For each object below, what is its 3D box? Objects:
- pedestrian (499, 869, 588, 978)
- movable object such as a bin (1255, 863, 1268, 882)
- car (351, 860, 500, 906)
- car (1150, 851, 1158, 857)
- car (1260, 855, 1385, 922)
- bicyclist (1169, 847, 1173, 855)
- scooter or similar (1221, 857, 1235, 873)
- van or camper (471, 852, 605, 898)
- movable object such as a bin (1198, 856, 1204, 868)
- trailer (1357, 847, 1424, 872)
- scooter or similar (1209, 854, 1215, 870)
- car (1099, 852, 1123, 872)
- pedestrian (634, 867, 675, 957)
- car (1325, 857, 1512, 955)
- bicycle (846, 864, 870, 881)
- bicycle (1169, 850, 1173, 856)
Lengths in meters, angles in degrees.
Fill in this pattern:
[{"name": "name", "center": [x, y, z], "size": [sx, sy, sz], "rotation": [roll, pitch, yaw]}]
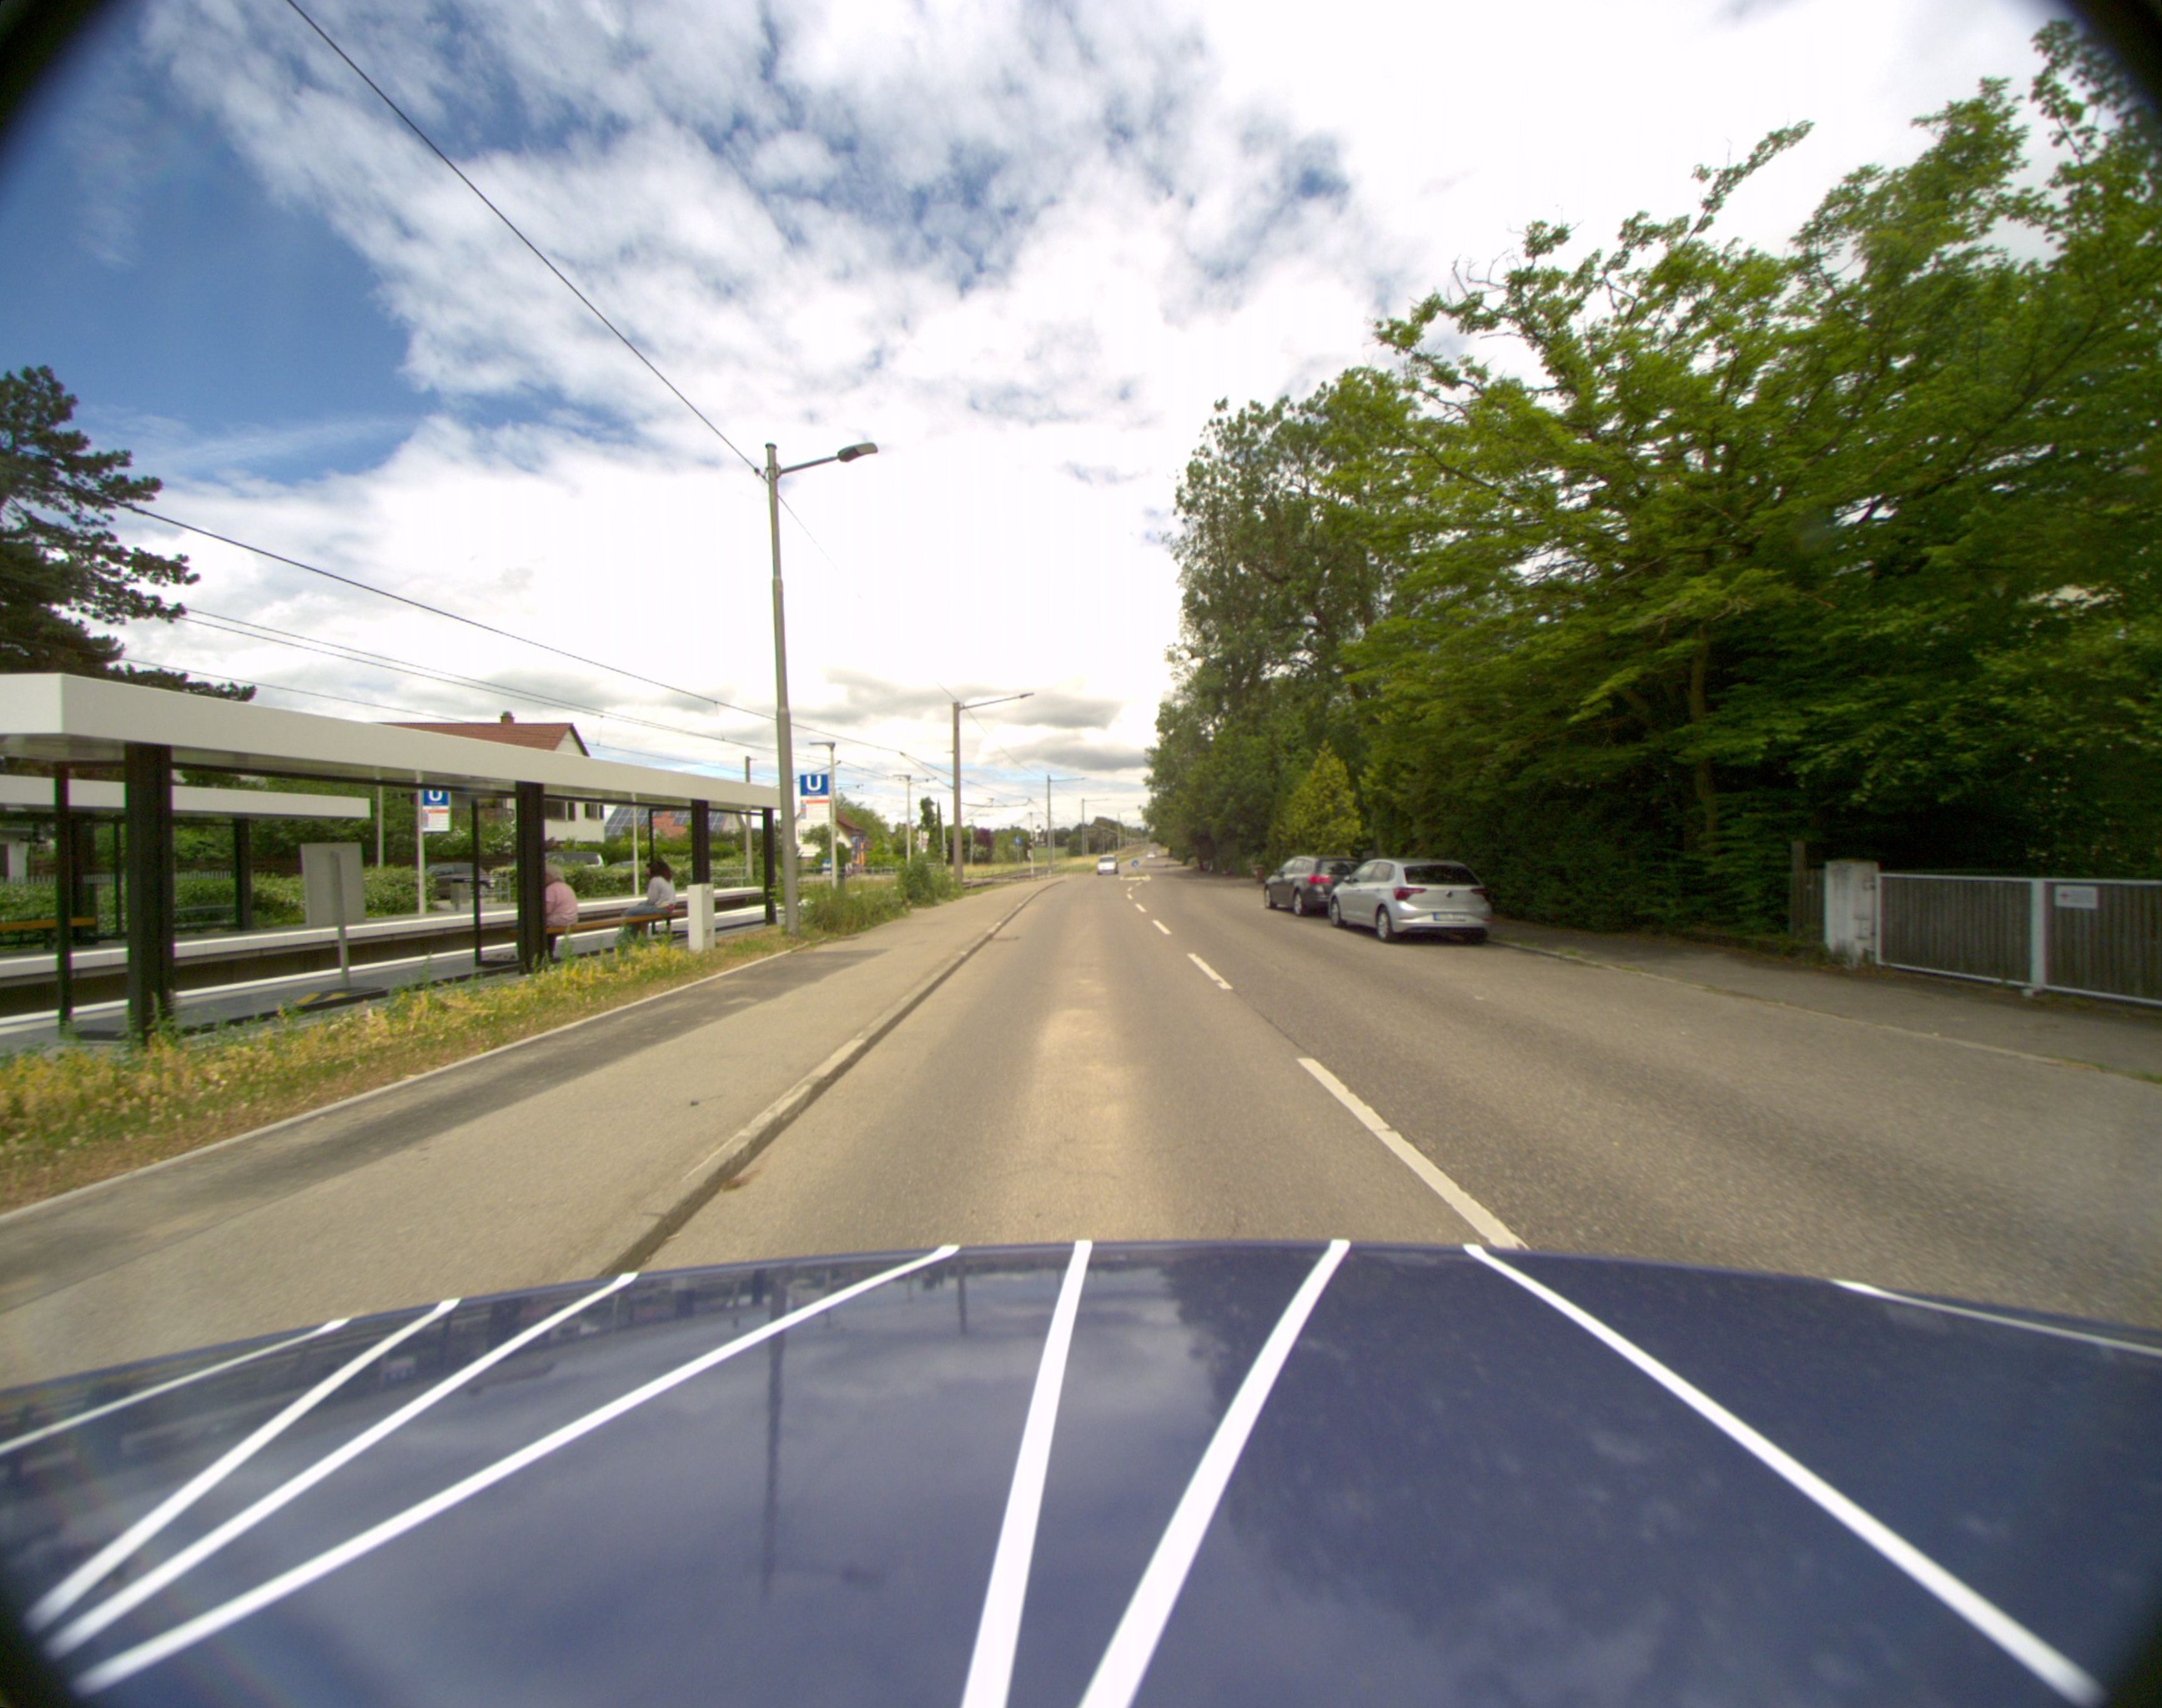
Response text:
[{"name": "pedestrian", "center": [-7.098, 0.895, 10.063], "size": [0.583, 1.372, 0.740], "rotation": [-2, 0, 2]}, {"name": "movable object such as a bin", "center": [9.239, 0.945, 38.903], "size": [0.464, 0.925, 0.429], "rotation": [-5, 2, -11]}, {"name": "car", "center": [-24.602, 1.035, 28.745], "size": [1.887, 1.513, 4.002], "rotation": [-1, 1, 7]}, {"name": "car", "center": [16.644, -0.034, 172.914], "size": [1.697, 1.422, 3.788], "rotation": [-2, 0, 6]}, {"name": "car", "center": [6.009, 0.791, 19.462], "size": [1.741, 1.496, 4.477], "rotation": [0, 0, -1]}, {"name": "bicyclist", "center": [18.231, -0.626, 153.931], "size": [0.780, 1.540, 0.870], "rotation": [-1, 1, 5]}, {"name": "scooter or similar", "center": [10.200, 0.753, 52.792], "size": [0.479, 1.074, 1.212], "rotation": [-3, 1, -13]}, {"name": "van or camper", "center": [-23.916, 0.852, 33.762], "size": [1.909, 1.815, 5.049], "rotation": [-1, 1, 7]}, {"name": "movable object such as a bin", "center": [10.516, 0.699, 66.555], "size": [0.514, 0.939, 0.569], "rotation": [-2, 1, 5]}, {"name": "trailer", "center": [19.243, 0.309, 47.300], "size": [3.519, 1.434, 1.732], "rotation": [-2, 1, -14]}, {"name": "scooter or similar", "center": [10.516, 0.628, 61.041], "size": [0.409, 1.192, 1.640], "rotation": [-1, 1, 7]}, {"name": "car", "center": [2.565, 0.669, 64.451], "size": [1.642, 1.510, 3.870], "rotation": [-3, 1, 6]}, {"name": "pedestrian", "center": [-6.729, 0.895, 11.983], "size": [0.485, 1.337, 0.397], "rotation": [6, 6, 36]}, {"name": "car", "center": [5.966, 0.829, 13.979], "size": [1.741, 1.496, 3.963], "rotation": [0, 0, 1]}, {"name": "bicycle", "center": [-16.133, 1.327, 55.030], "size": [0.539, 1.039, 2.542], "rotation": [15, -2, 7]}, {"name": "bicycle", "center": [18.212, -0.199, 153.778], "size": [0.756, 1.219, 2.309], "rotation": [0, 1, 6]}]
